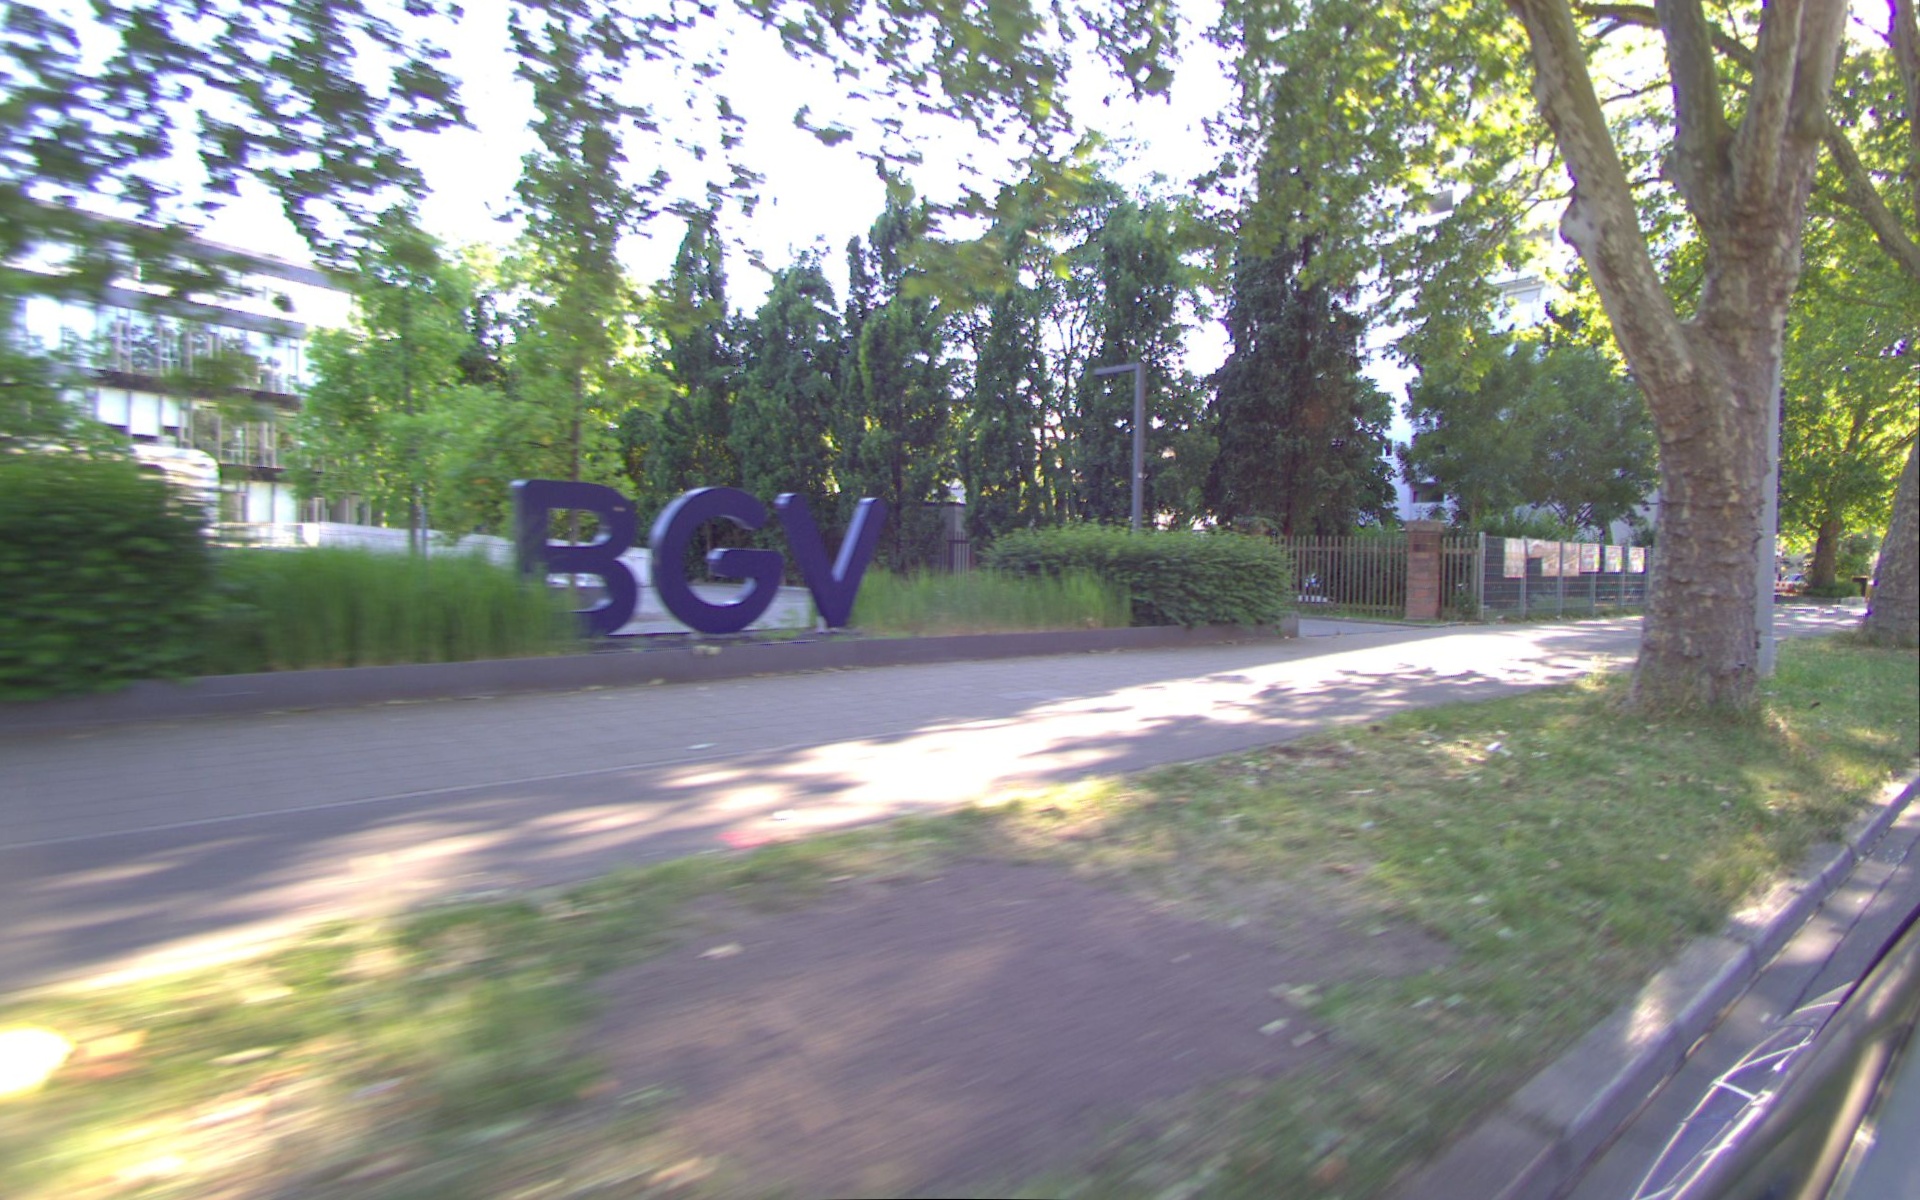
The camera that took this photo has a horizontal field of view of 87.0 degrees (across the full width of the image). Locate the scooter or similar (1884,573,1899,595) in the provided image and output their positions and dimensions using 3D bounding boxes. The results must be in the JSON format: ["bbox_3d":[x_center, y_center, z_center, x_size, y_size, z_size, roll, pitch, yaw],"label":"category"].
[{"bbox_3d":[55.113,-0.944,59.871,1.269,1.272,0.561,-2,4,-45],"label":"scooter or similar"}]

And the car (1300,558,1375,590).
[{"bbox_3d":[18.604,-1.271,49.754,3.935,1.471,1.995,-2,1,-45],"label":"car"}]

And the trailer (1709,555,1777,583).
[{"bbox_3d":[69.885,-2.772,90.362,4.474,2.403,1.896,2,2,28],"label":"trailer"}]

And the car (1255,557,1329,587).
[{"bbox_3d":[16.892,-1.410,51.423,3.935,1.471,1.995,-2,1,-45],"label":"car"}]

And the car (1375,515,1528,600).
[{"bbox_3d":[16.029,-1.342,32.821,6.232,2.530,1.998,-1,1,-39],"label":"car"}]

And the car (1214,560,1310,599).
[{"bbox_3d":[11.893,-0.804,39.725,3.935,1.471,1.995,-2,1,-45],"label":"car"}]
